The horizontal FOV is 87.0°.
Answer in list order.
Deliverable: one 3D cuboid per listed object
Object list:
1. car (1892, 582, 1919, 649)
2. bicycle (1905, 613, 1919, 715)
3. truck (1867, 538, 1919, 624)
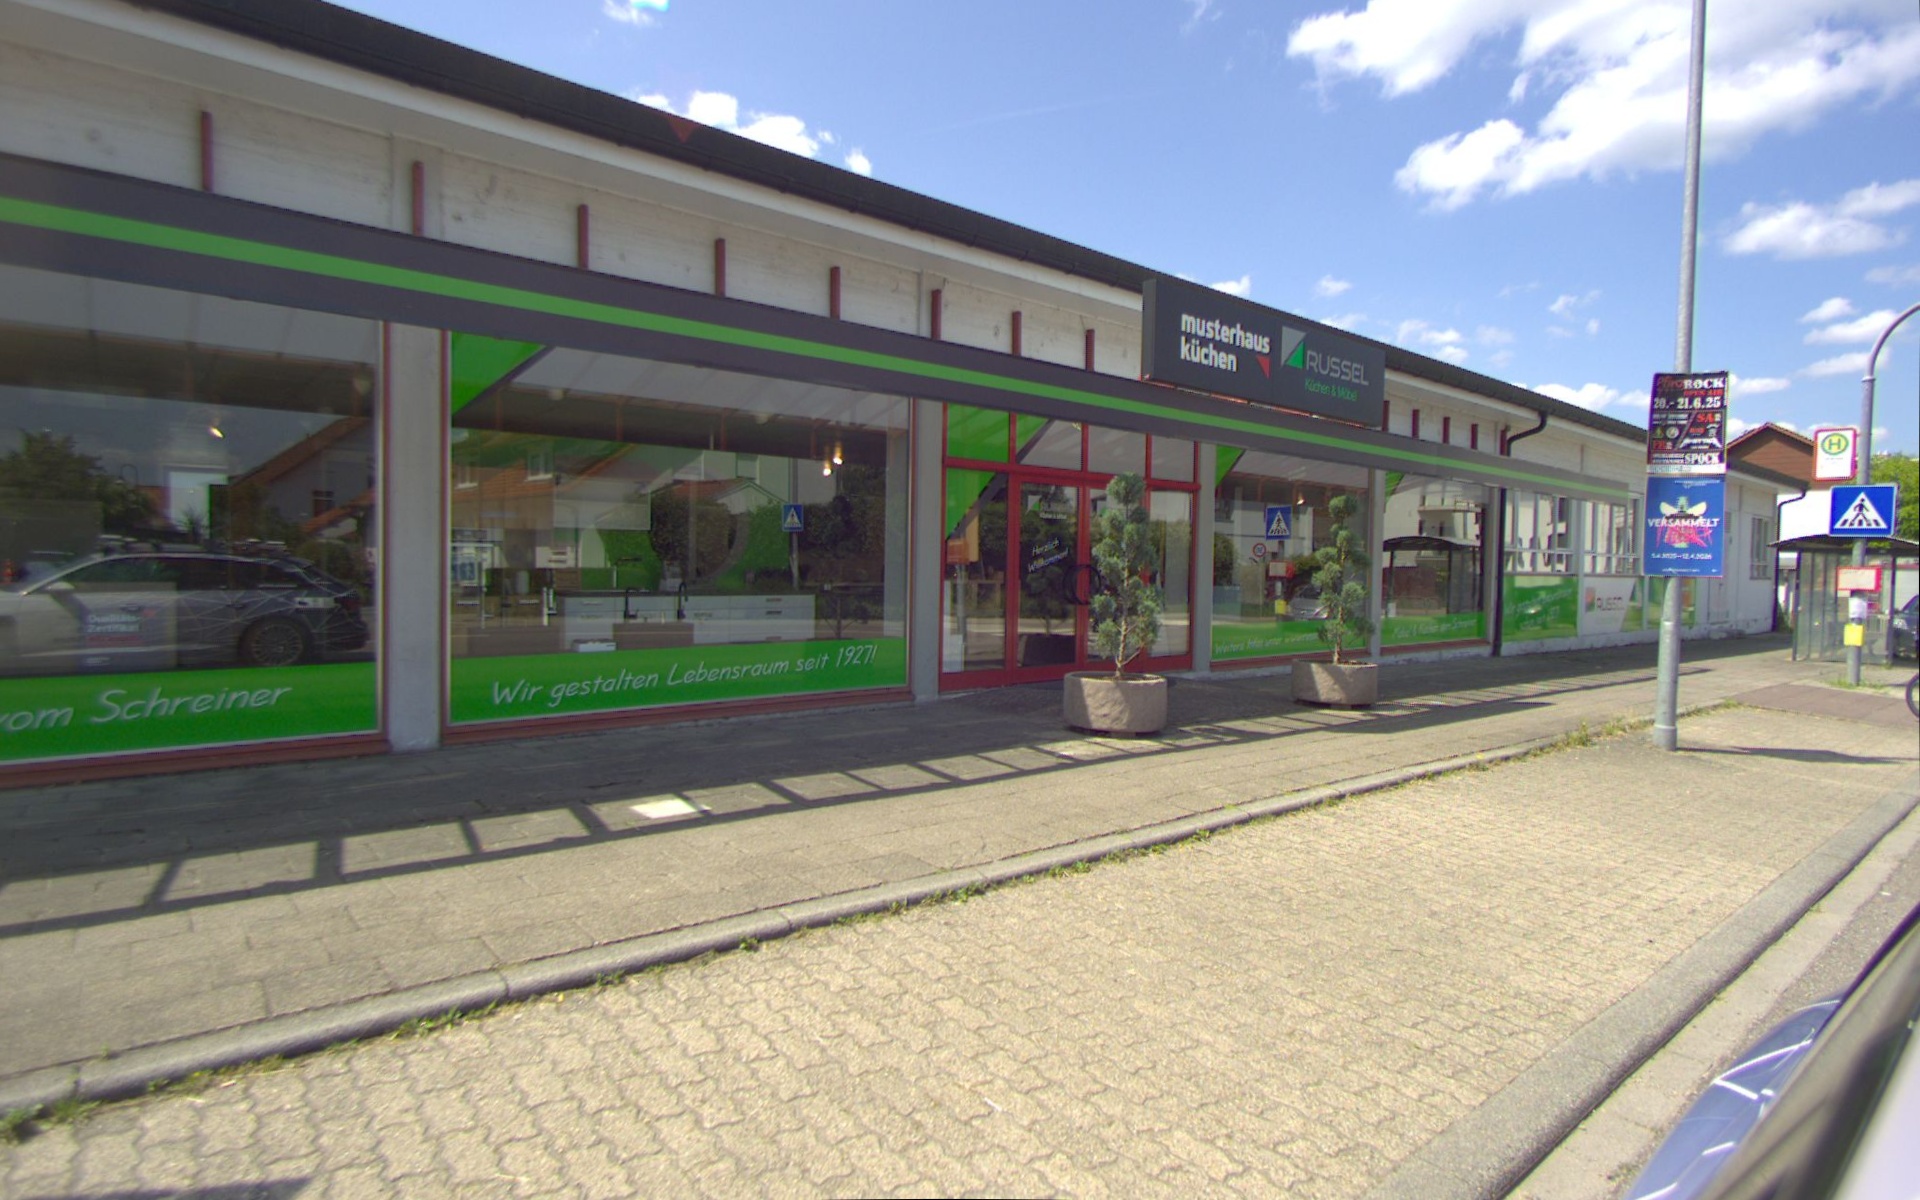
[{"bbox_3d":[23.755,0.384,24.156,3.694,1.510,1.729,0,4,-41],"label":"car"},{"bbox_3d":[12.036,0.794,11.316,1.921,1.179,0.800,3,2,23],"label":"bicycle"},{"bbox_3d":[33.647,-0.653,35.359,2.574,2.795,6.234,5,4,44],"label":"truck"}]
